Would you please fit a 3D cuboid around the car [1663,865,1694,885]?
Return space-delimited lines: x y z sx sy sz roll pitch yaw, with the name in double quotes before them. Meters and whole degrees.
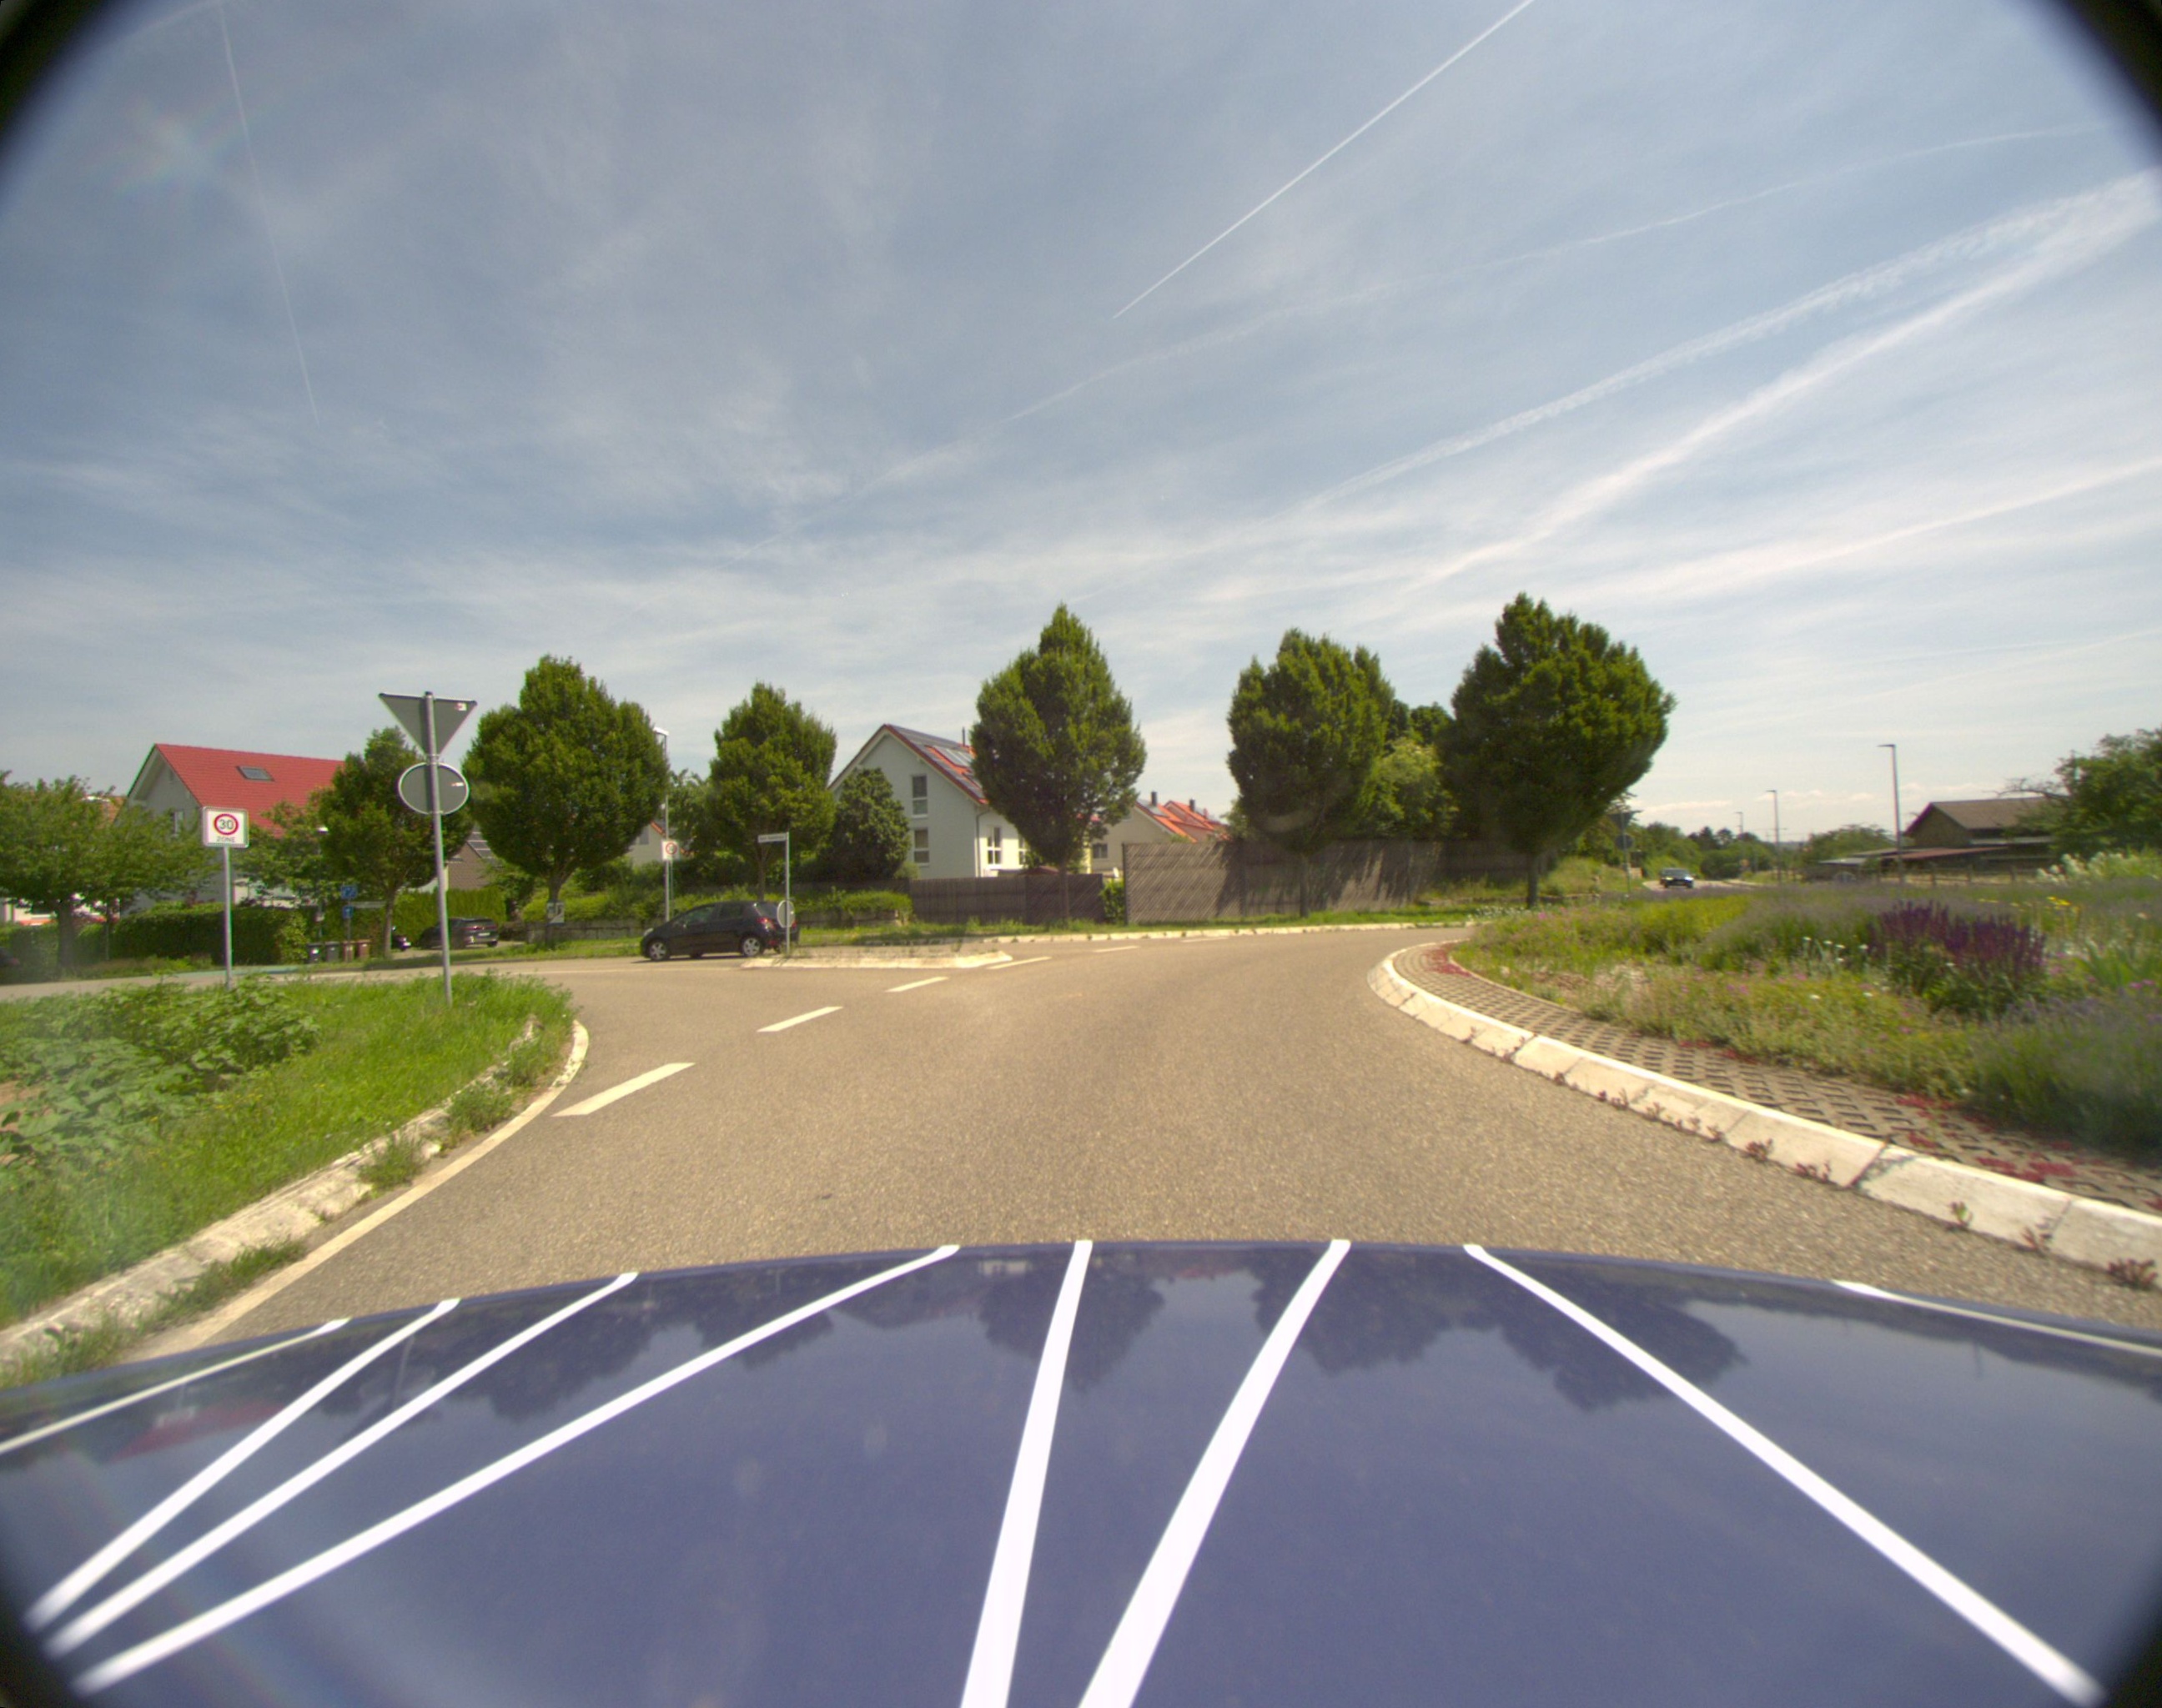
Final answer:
"car" 50.815 1.736 64.664 1.611 1.605 4.230 0 0 31

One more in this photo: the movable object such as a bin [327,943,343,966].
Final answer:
"movable object such as a bin" -32.769 4.392 33.360 0.498 0.960 0.442 -4 -3 38

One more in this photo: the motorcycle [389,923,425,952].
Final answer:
"motorcycle" -33.733 4.150 38.003 1.657 1.340 0.853 -3 -1 31

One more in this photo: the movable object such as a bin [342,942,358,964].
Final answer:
"movable object such as a bin" -32.472 4.393 33.750 0.498 0.960 0.442 -4 -3 38

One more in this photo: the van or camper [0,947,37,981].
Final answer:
"van or camper" -43.452 4.428 30.036 3.678 1.213 1.600 -5 -2 20

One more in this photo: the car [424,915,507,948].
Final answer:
"car" -31.894 4.021 39.388 3.991 1.542 1.715 -3 -2 24

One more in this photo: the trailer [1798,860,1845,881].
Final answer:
"trailer" 62.904 1.360 64.611 2.156 1.693 5.040 -1 -1 36

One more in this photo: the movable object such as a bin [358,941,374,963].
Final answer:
"movable object such as a bin" -32.169 4.395 34.177 0.498 0.960 0.442 -4 -3 38

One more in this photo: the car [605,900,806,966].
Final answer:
"car" -9.649 2.014 19.655 4.427 1.455 1.680 -2 -2 7

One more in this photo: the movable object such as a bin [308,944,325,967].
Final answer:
"movable object such as a bin" -33.108 4.388 32.904 0.498 0.960 0.442 -4 -3 38
